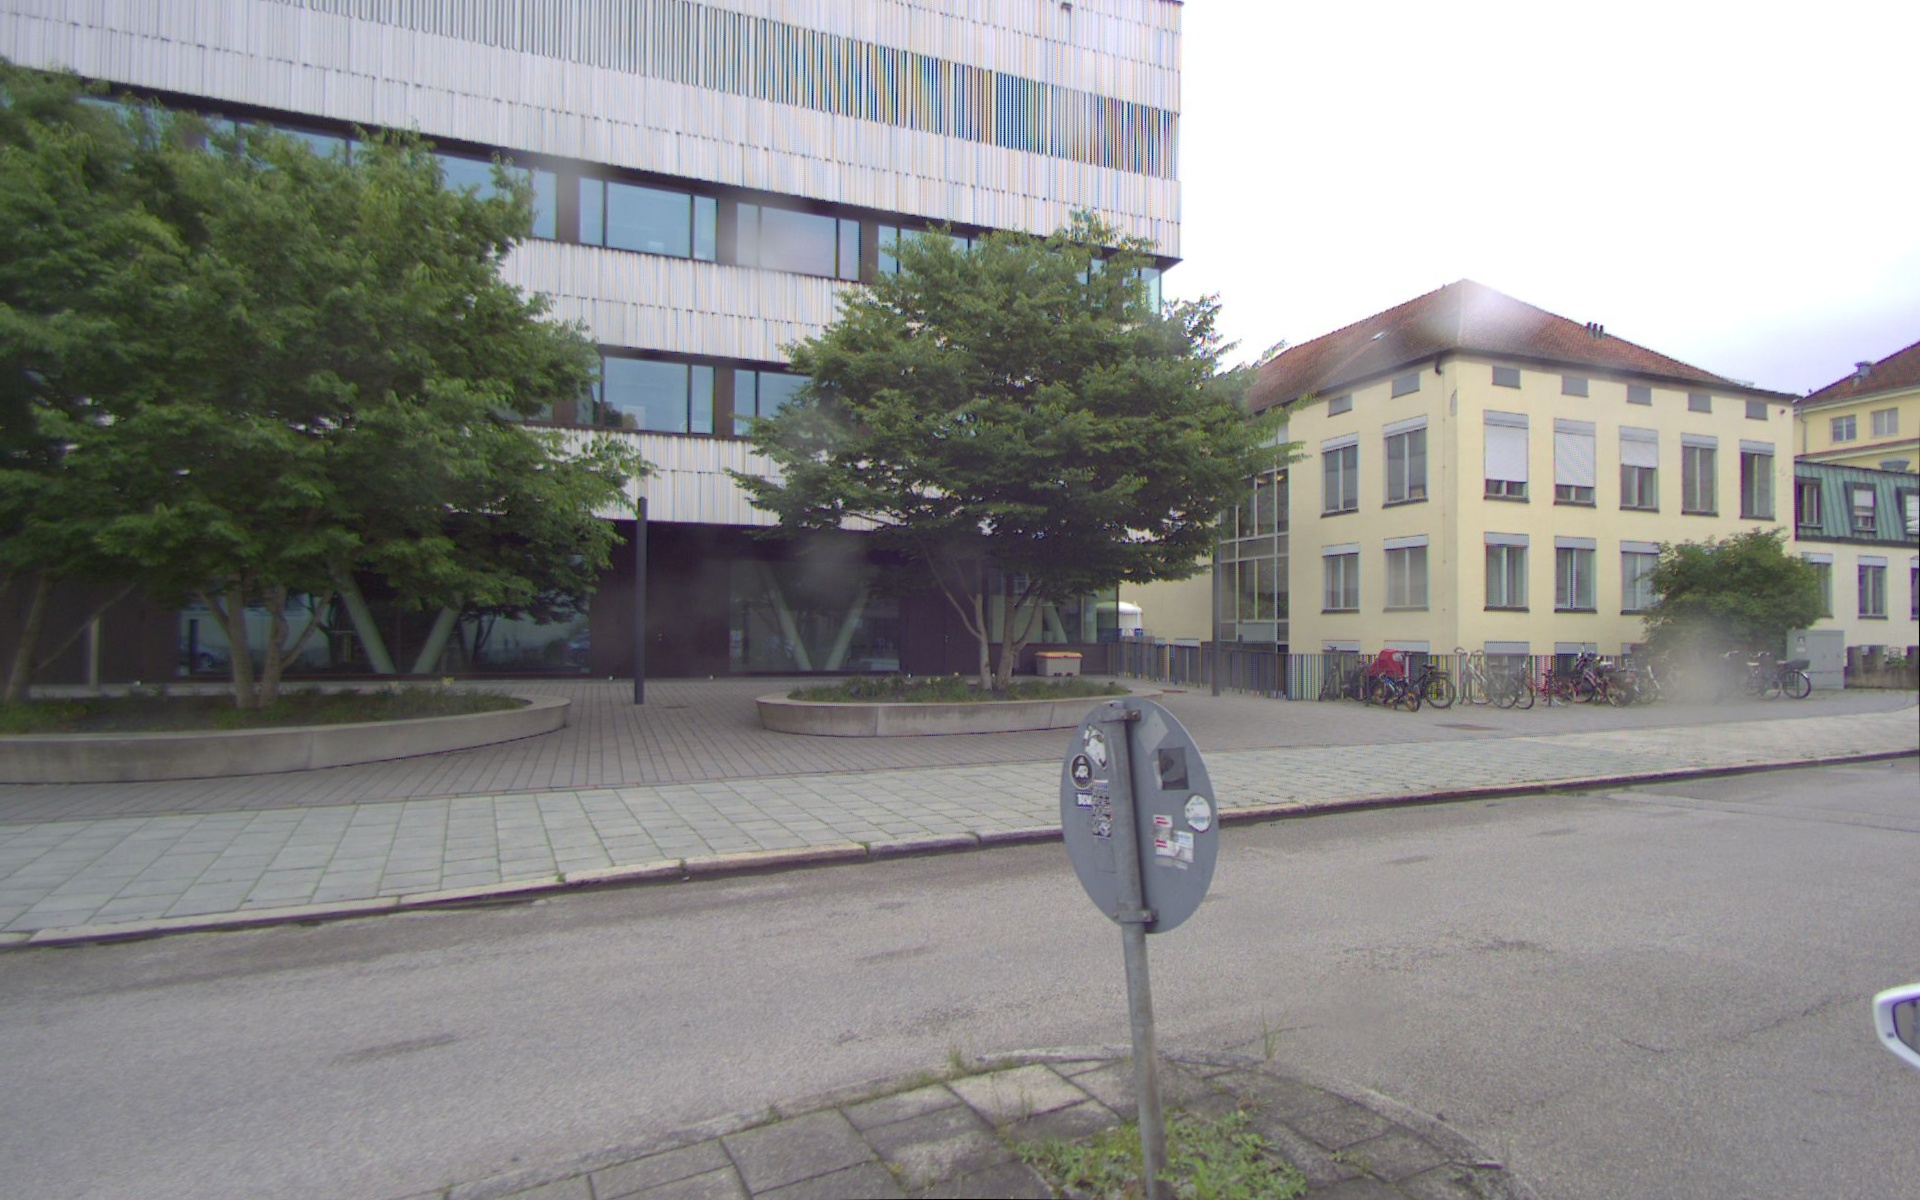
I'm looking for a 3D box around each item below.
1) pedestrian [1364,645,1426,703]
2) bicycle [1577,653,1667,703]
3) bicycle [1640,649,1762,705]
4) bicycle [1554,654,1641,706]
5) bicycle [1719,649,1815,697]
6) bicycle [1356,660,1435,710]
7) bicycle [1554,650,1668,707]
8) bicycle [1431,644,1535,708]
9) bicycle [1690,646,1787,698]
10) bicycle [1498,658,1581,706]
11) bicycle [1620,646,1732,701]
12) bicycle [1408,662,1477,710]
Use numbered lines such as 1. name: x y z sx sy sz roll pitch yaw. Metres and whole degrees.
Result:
1. pedestrian: 9.356 1.577 21.612 1.025 1.178 0.716 1 0 -22
2. bicycle: 15.572 1.817 23.676 0.531 1.043 1.866 1 0 -16
3. bicycle: 17.784 1.827 24.206 0.626 1.156 2.486 1 0 -16
4. bicycle: 14.486 1.803 22.876 0.499 1.047 1.790 1 0 -16
5. bicycle: 20.782 1.856 25.912 0.666 1.106 1.904 1 0 -16
6. bicycle: 8.934 1.726 20.679 0.432 0.874 1.716 1 0 -20
7. bicycle: 15.032 1.784 23.307 0.417 1.222 2.553 0 -2 -16
8. bicycle: 11.365 1.621 21.909 0.774 1.244 2.104 1 0 -16
9. bicycle: 19.362 1.775 25.039 0.563 1.146 1.956 1 0 -16
10. bicycle: 12.894 1.814 22.401 0.585 0.928 1.674 1 0 -16
11. bicycle: 17.012 1.722 23.956 0.572 1.150 2.309 1 0 -16
12. bicycle: 9.972 1.754 20.795 0.432 0.874 1.370 1 0 -20
